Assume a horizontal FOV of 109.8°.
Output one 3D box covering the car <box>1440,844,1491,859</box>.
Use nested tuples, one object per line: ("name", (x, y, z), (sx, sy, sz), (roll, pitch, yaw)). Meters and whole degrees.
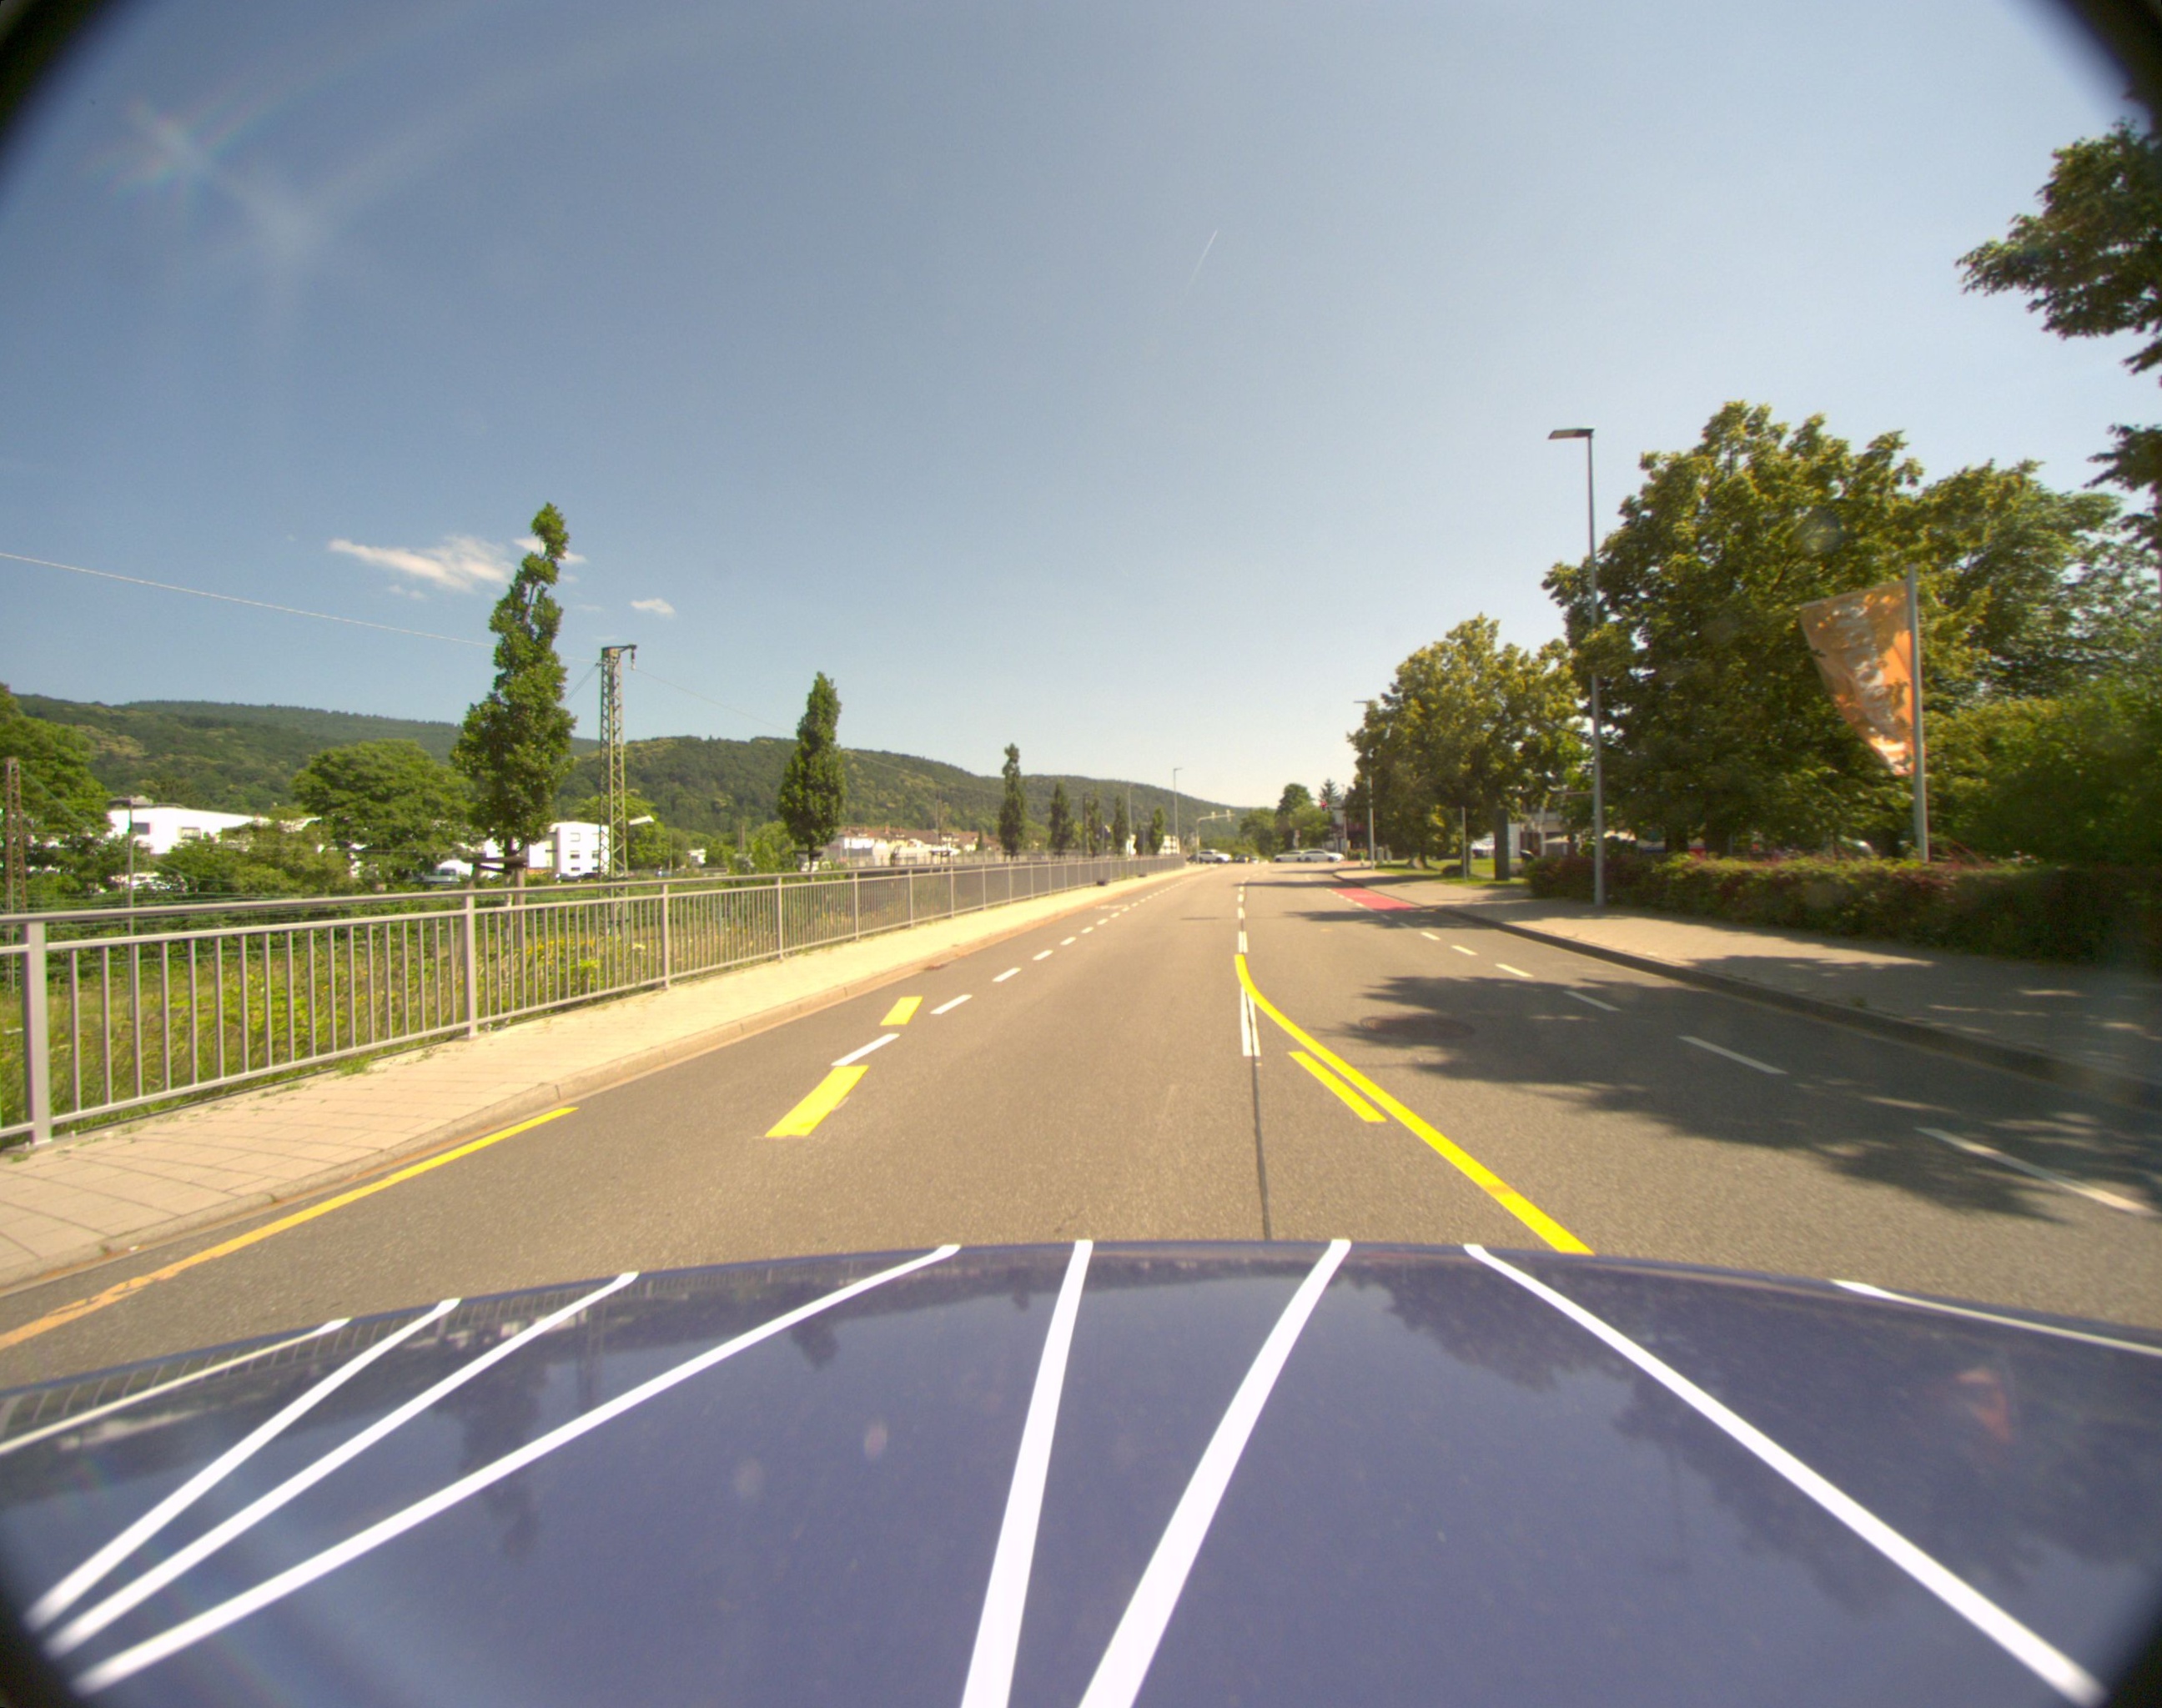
("car", (39.622, -0.223, 78.400), (4.358, 1.339, 1.834), (-1, 4, 39))

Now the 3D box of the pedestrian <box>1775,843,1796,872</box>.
("pedestrian", (31.491, 0.154, 33.977), (0.593, 1.203, 0.551), (-7, 0, -45))

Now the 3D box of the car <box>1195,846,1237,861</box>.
("car", (16.243, -0.057, 91.516), (4.568, 1.643, 1.834), (-1, 4, 42))

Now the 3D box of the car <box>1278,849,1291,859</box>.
("car", (30.312, -0.001, 113.224), (1.608, 1.527, 3.685), (-1, 0, 10))

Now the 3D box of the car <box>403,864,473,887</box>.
("car", (-73.186, 2.418, 86.595), (2.131, 2.090, 5.526), (-6, 0, 22))

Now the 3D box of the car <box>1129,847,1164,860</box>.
("car", (8.891, -0.051, 103.314), (4.358, 1.618, 1.834), (-1, 4, 39))

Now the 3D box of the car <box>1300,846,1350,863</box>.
("car", (26.253, 0.082, 81.906), (4.754, 1.643, 1.834), (-1, 4, 43))

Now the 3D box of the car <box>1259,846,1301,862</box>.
("car", (23.778, -0.001, 90.797), (4.358, 1.618, 1.834), (-1, 4, 39))

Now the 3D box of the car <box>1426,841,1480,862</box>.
("car", (36.056, -0.255, 73.644), (4.358, 1.839, 1.834), (-1, 4, 41))

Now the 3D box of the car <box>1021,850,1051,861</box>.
("car", (-6.833, 0.258, 115.135), (4.358, 1.483, 1.834), (-1, 4, 39))

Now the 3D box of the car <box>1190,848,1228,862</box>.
("car", (16.318, 0.112, 96.866), (4.358, 1.618, 1.834), (-1, 4, 39))

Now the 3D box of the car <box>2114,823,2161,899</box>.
("car", (27.040, 0.138, 17.036), (1.760, 1.788, 4.224), (-2, 0, -12))

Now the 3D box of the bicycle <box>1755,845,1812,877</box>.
("bicycle", (27.757, 0.276, 30.043), (1.608, 1.179, 0.310), (-4, 1, 42))

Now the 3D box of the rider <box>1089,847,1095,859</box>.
("rider", (1.597, -0.144, 111.875), (0.684, 1.804, 0.549), (-1, 4, 39))

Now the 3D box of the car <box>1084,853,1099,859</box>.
("car", (1.571, 0.296, 111.954), (2.376, 0.897, 0.577), (-1, 4, 39))

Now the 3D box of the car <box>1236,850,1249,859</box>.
("car", (22.790, 0.057, 107.179), (1.608, 1.248, 3.685), (-1, 0, 10))
